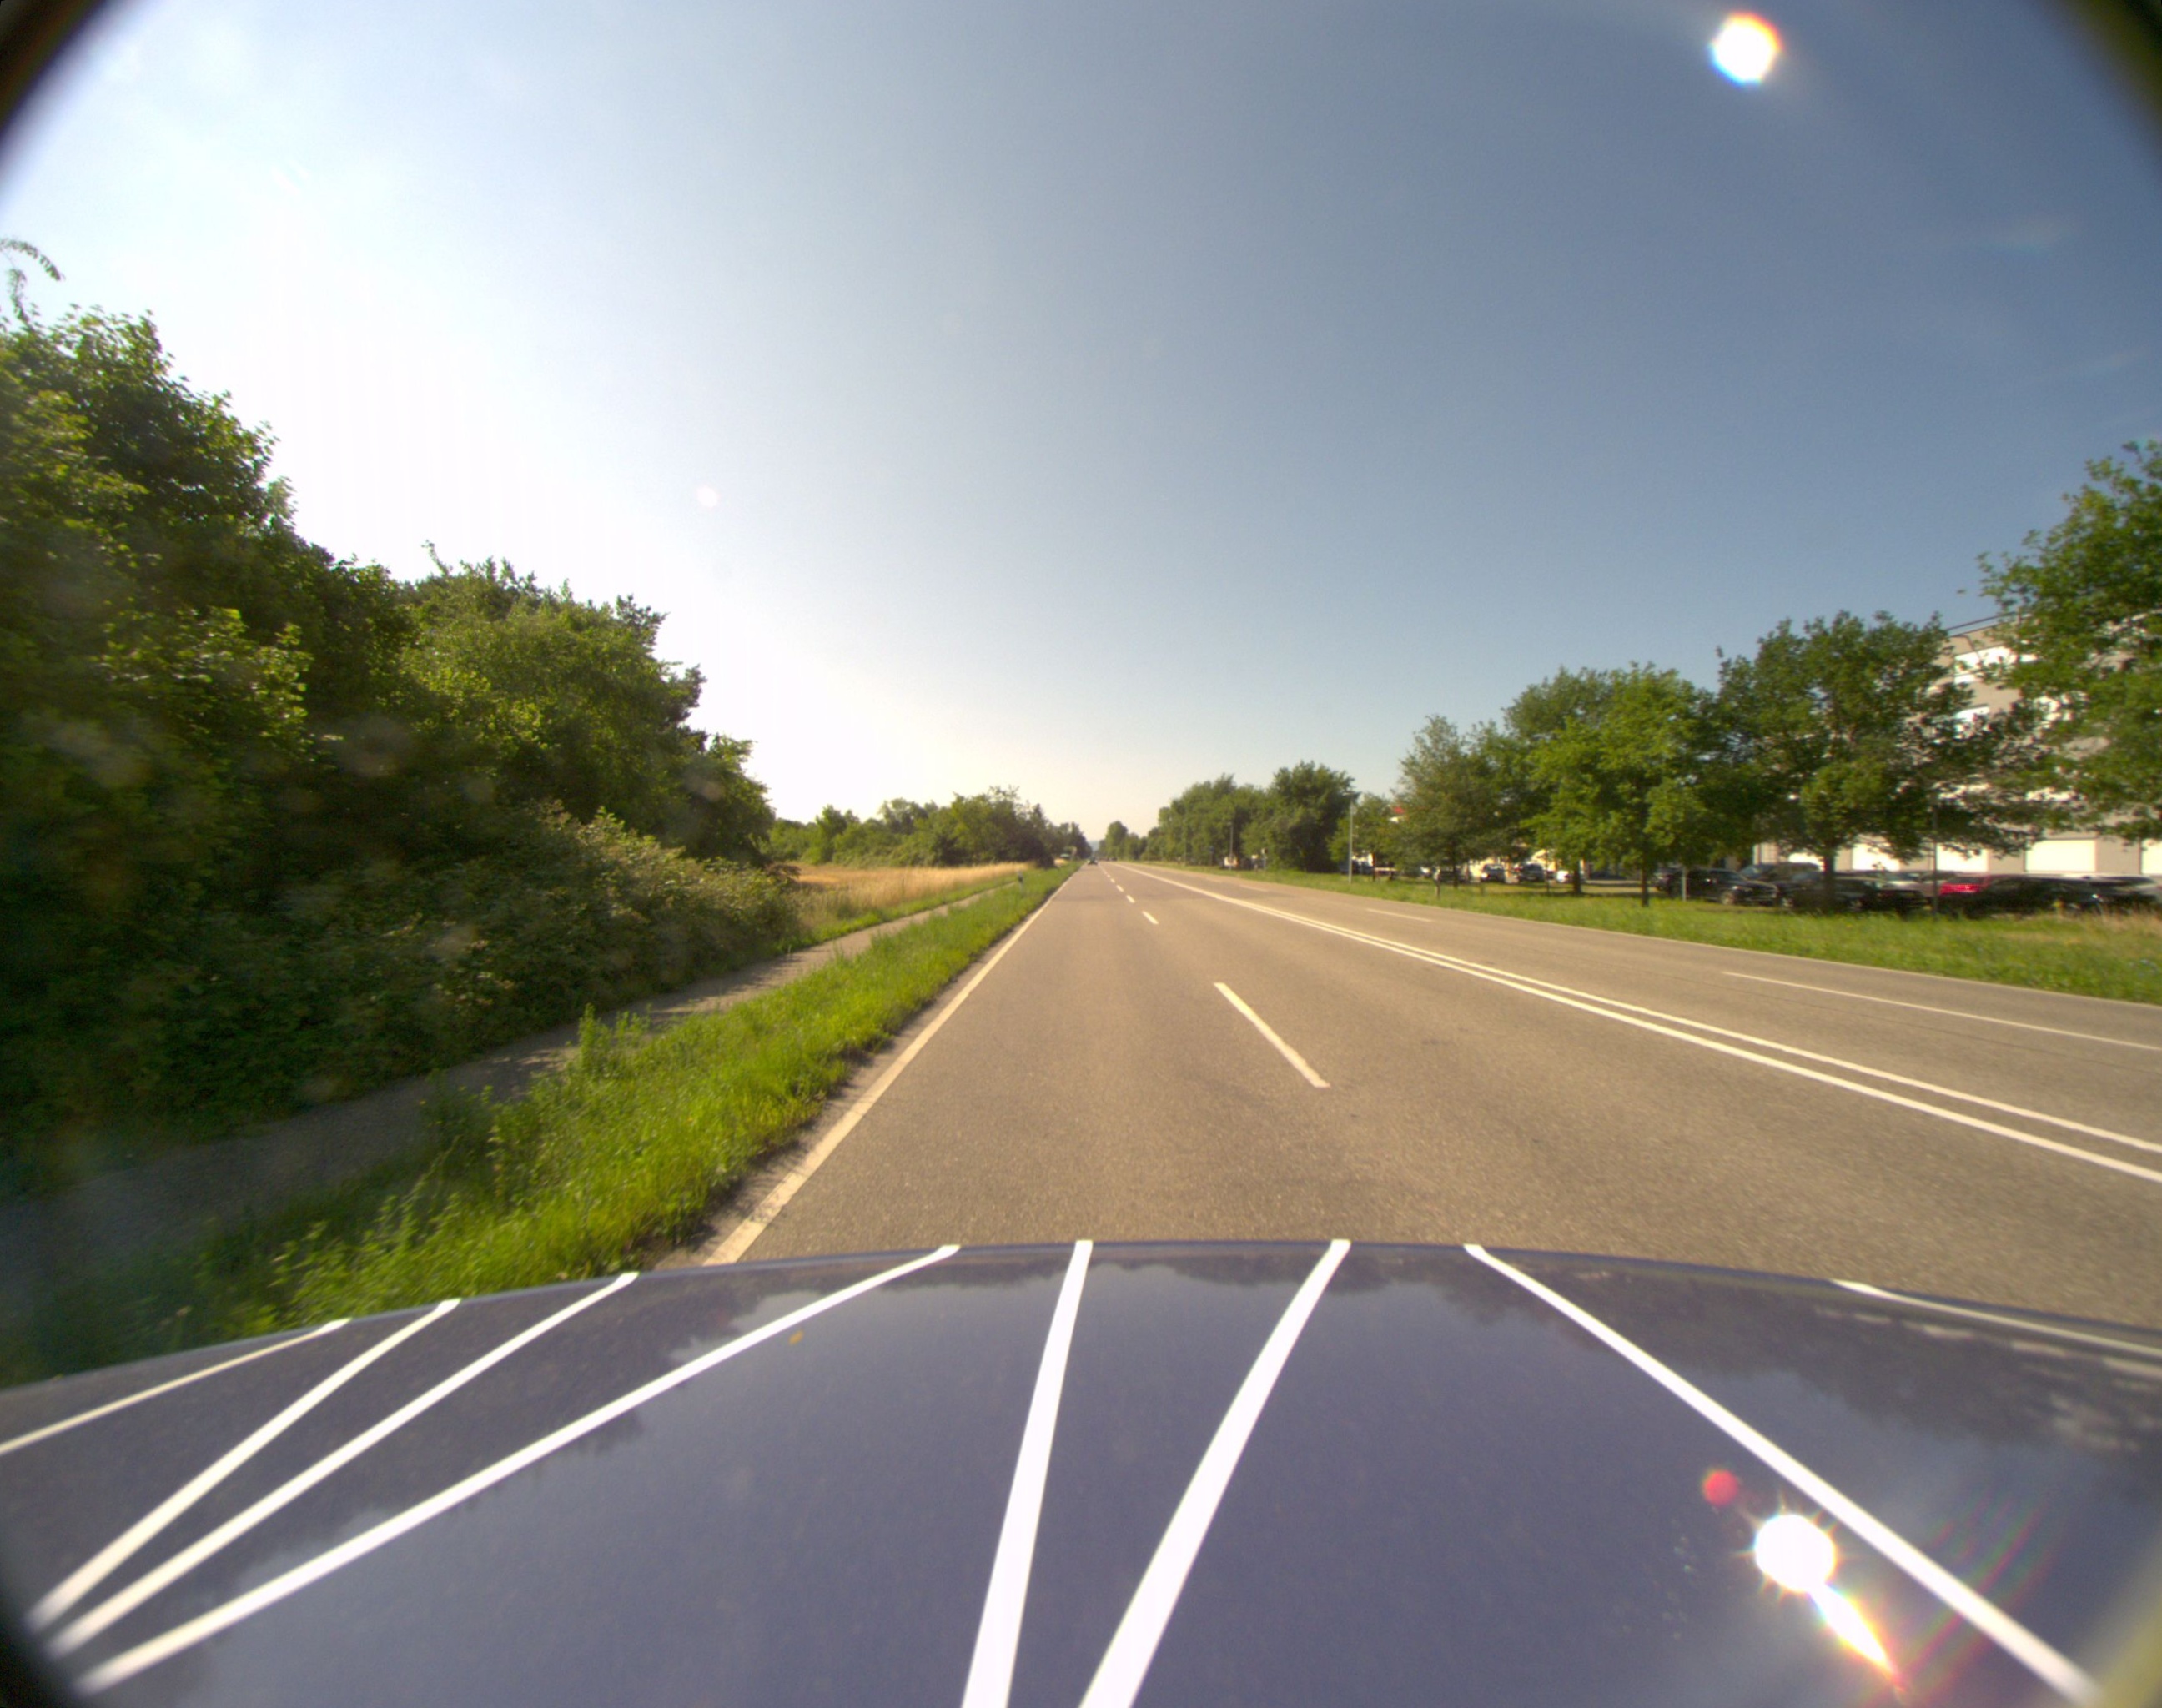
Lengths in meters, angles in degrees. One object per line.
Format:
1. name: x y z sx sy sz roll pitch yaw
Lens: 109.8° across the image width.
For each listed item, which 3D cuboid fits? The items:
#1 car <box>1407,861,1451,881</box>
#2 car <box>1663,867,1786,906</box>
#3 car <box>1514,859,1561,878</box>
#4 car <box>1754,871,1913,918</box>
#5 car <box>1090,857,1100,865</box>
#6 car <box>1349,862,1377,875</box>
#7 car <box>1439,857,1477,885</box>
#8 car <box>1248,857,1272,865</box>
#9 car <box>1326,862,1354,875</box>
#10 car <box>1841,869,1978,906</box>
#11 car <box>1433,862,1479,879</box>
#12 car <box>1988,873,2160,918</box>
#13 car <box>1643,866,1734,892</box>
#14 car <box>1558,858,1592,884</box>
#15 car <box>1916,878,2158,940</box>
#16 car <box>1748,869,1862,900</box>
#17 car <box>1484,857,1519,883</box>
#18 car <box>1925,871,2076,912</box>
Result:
1. car: 30.798 1.460 67.329 1.934 1.642 4.191 0 0 0
2. car: 29.138 1.428 34.620 1.747 1.569 4.548 0 0 1
3. car: 41.309 1.280 68.875 1.861 1.648 4.169 0 0 1
4. car: 29.210 1.521 29.733 1.747 1.569 4.548 0 0 1
5. car: 2.511 1.317 138.007 1.768 1.403 4.001 0 -1 2
6. car: 30.792 1.577 83.033 1.676 1.342 4.000 0 0 1
7. car: 28.541 1.227 57.433 2.068 1.918 5.025 0 1 31
8. car: 32.759 1.317 138.834 3.997 1.492 1.758 0 0 1
9. car: 28.103 1.570 82.569 1.676 1.342 4.000 0 0 1
10. car: 36.578 1.473 33.632 3.997 1.527 1.888 0 0 0
11. car: 33.134 1.440 67.255 1.934 1.386 4.191 0 0 0
12. car: 37.036 1.523 28.417 4.146 1.576 1.742 0 0 0
13. car: 36.925 1.502 46.258 3.997 1.527 1.888 0 0 0
14. car: 37.641 1.269 57.985 2.068 1.796 5.025 0 1 31
15. car: 29.070 1.595 23.405 1.747 1.569 4.548 0 0 1
16. car: 36.963 1.539 38.866 3.997 1.527 1.888 0 0 0
17. car: 31.724 1.156 57.314 2.068 1.796 5.025 0 1 31
18. car: 37.115 1.496 30.741 3.997 1.527 1.742 0 0 0
